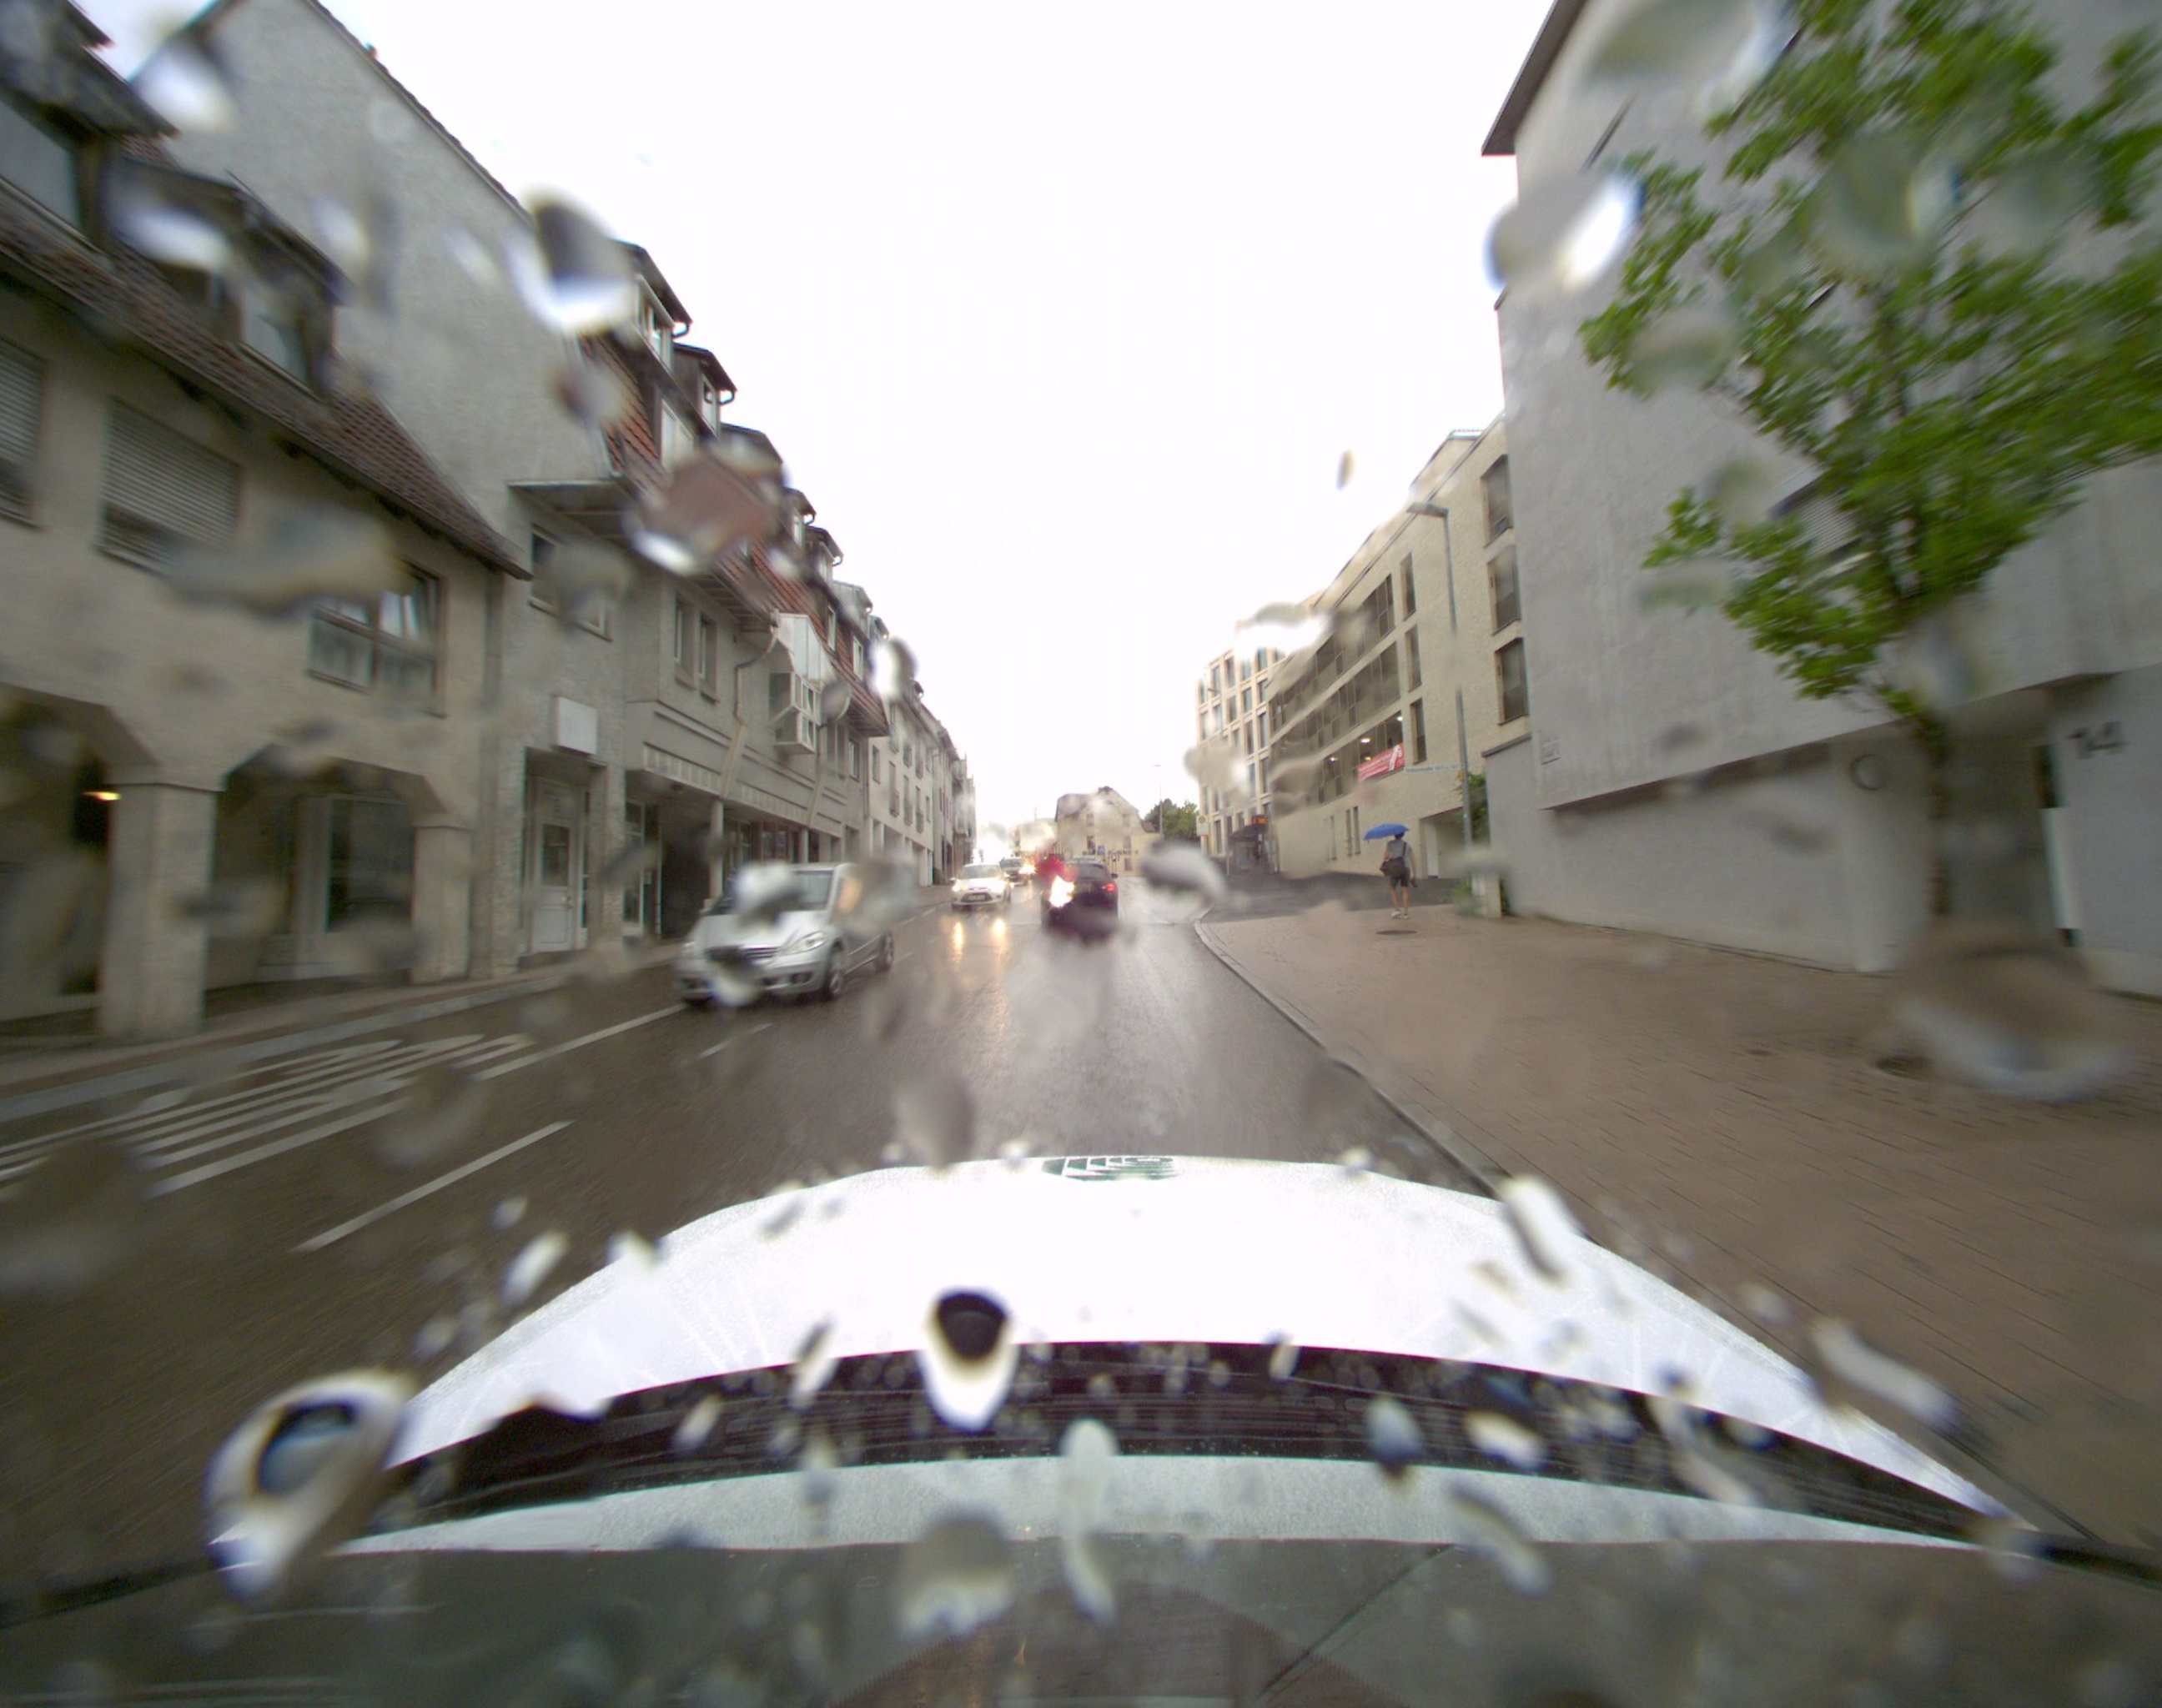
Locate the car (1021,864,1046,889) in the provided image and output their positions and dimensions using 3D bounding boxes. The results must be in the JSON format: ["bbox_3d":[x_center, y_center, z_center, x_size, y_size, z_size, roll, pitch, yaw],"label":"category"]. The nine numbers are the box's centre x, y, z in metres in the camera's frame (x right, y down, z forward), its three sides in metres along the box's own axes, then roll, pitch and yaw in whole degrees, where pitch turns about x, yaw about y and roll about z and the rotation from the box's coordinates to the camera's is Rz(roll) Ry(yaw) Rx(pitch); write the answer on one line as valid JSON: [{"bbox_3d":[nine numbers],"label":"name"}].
[{"bbox_3d":[-4.049,1.866,69.808,1.927,1.907,5.037,-3,0,-3],"label":"car"}]

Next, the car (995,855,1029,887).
[{"bbox_3d":[-3.954,0.951,47.220,1.778,1.694,4.454,-2,0,-3],"label":"car"}]

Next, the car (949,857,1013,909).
[{"bbox_3d":[-3.157,0.874,26.294,1.672,1.510,3.586,-2,0,-1],"label":"car"}]

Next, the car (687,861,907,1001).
[{"bbox_3d":[-3.612,0.886,11.045,1.672,1.510,3.588,-2,0,0],"label":"car"}]

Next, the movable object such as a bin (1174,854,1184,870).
[{"bbox_3d":[6.931,0.572,57.328,0.593,1.062,0.579,-2,-1,0],"label":"movable object such as a bin"}]

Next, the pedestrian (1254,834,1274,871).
[{"bbox_3d":[10.045,-0.083,44.749,0.779,1.940,1.021,-4,-1,1],"label":"pedestrian"}]

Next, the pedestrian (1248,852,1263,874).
[{"bbox_3d":[9.910,0.507,46.174,0.669,1.162,0.635,-4,-1,1],"label":"pedestrian"}]

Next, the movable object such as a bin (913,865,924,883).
[{"bbox_3d":[-9.200,1.133,46.080,0.507,1.006,0.584,-2,0,-3],"label":"movable object such as a bin"}]

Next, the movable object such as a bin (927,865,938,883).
[{"bbox_3d":[-8.448,1.125,46.263,0.507,1.006,0.584,-2,0,-3],"label":"movable object such as a bin"}]

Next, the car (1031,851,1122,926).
[{"bbox_3d":[-0.147,0.764,19.995,1.939,1.567,4.414,-2,0,-2],"label":"car"}]

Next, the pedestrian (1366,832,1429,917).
[{"bbox_3d":[6.144,0.386,15.855,0.732,1.542,1.039,-5,-1,4],"label":"pedestrian"}]

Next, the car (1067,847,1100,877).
[{"bbox_3d":[0.091,0.415,44.675,1.672,1.510,3.586,-2,0,-1],"label":"car"}]
